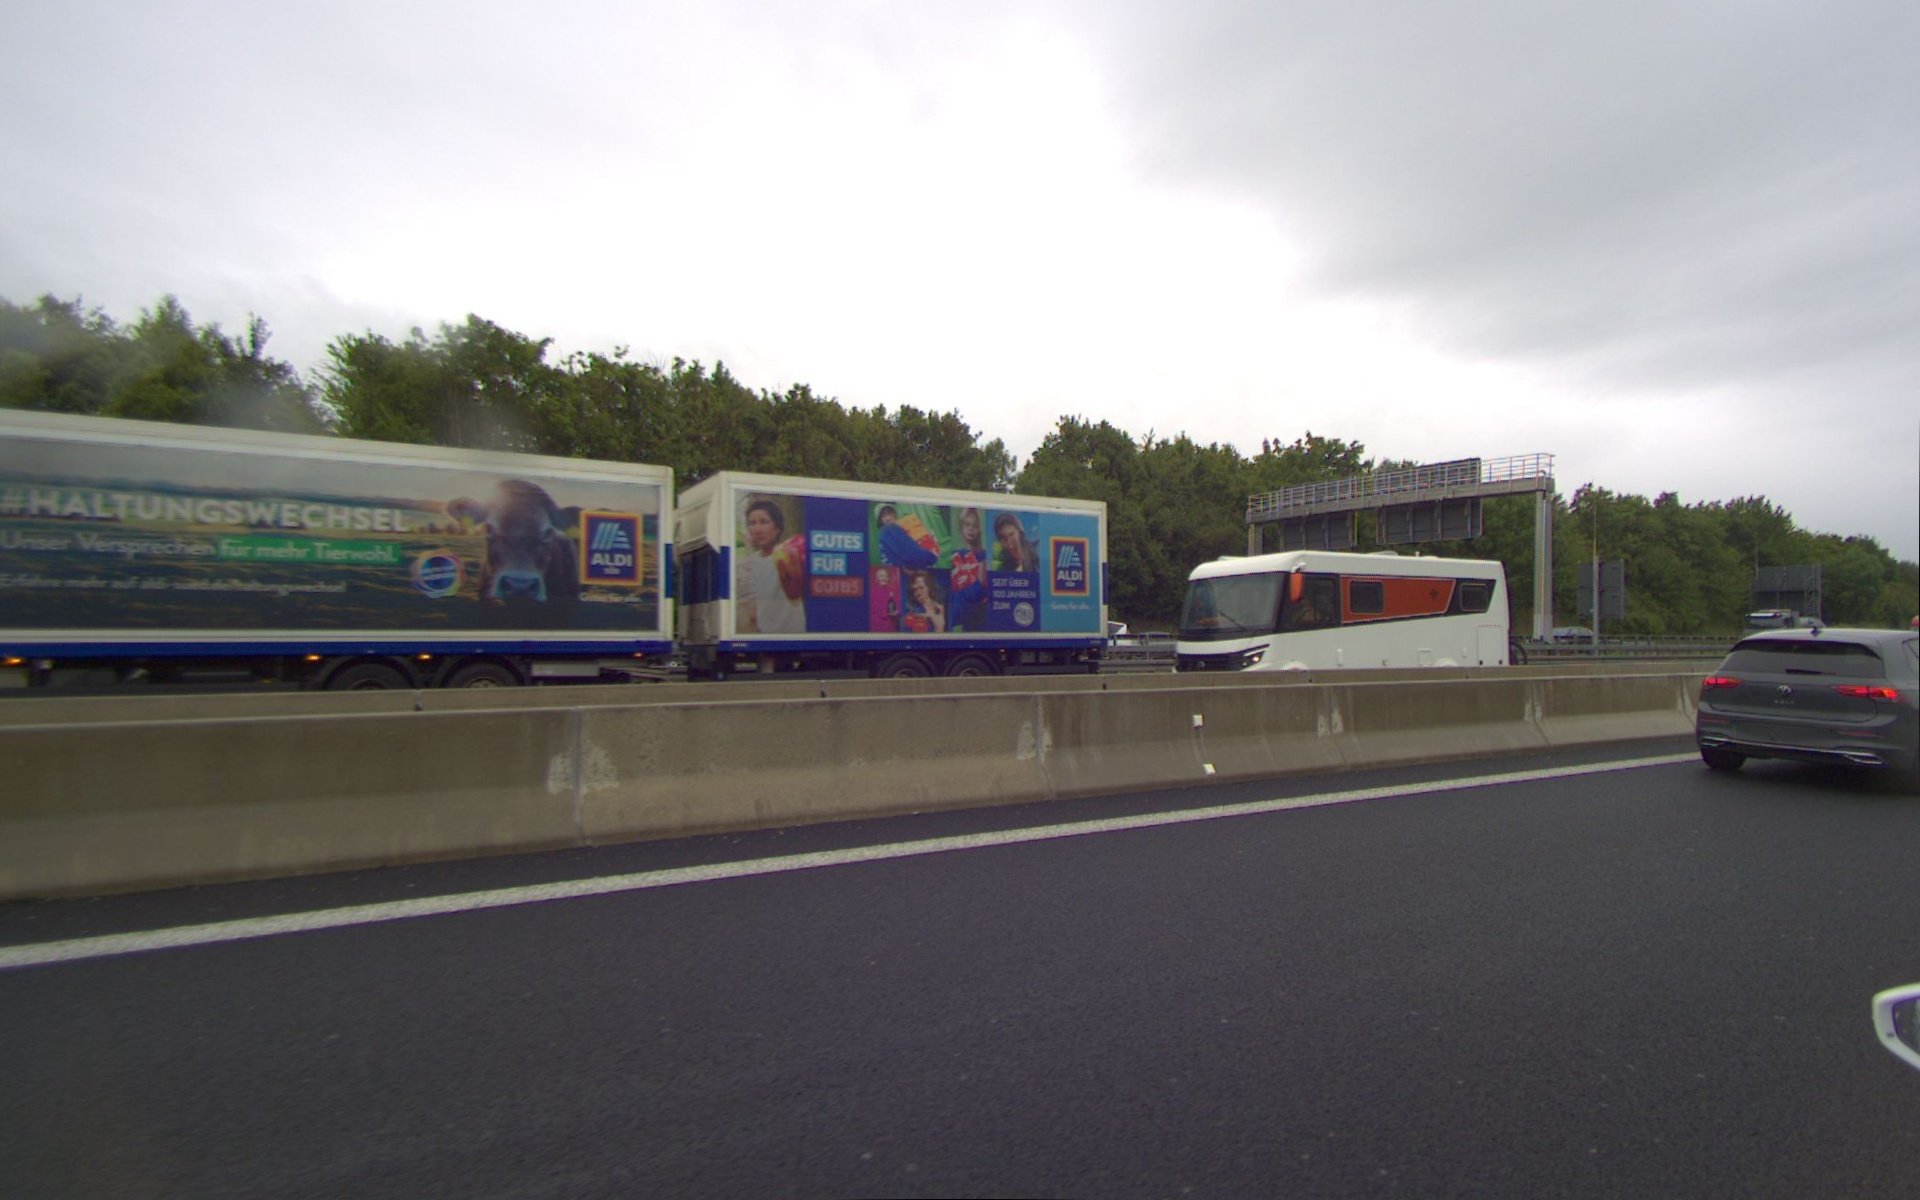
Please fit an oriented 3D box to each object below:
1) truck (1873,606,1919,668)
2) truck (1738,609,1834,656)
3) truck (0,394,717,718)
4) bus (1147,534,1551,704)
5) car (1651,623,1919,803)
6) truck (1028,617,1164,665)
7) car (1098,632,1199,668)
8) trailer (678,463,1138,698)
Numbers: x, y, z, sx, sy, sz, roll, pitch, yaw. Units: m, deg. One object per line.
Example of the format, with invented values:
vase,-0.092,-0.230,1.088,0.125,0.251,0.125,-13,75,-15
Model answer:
truck,43.668,1.670,44.756,7.010,2.628,2.415,2,-1,-30
truck,59.125,2.301,71.821,8.745,3.187,2.501,1,-1,-30
truck,-8.917,-0.436,13.686,10.516,3.572,2.794,2,0,-30
bus,7.455,0.379,18.734,8.176,2.621,2.528,2,0,-31
car,9.128,1.002,10.195,4.316,1.444,1.822,2,0,-30
truck,4.678,1.376,34.283,4.424,1.515,1.982,1,-1,-34
car,7.792,2.037,41.475,3.955,1.394,1.788,1,-1,-31
trailer,-0.795,-0.216,18.463,7.957,3.563,2.928,2,0,-30
